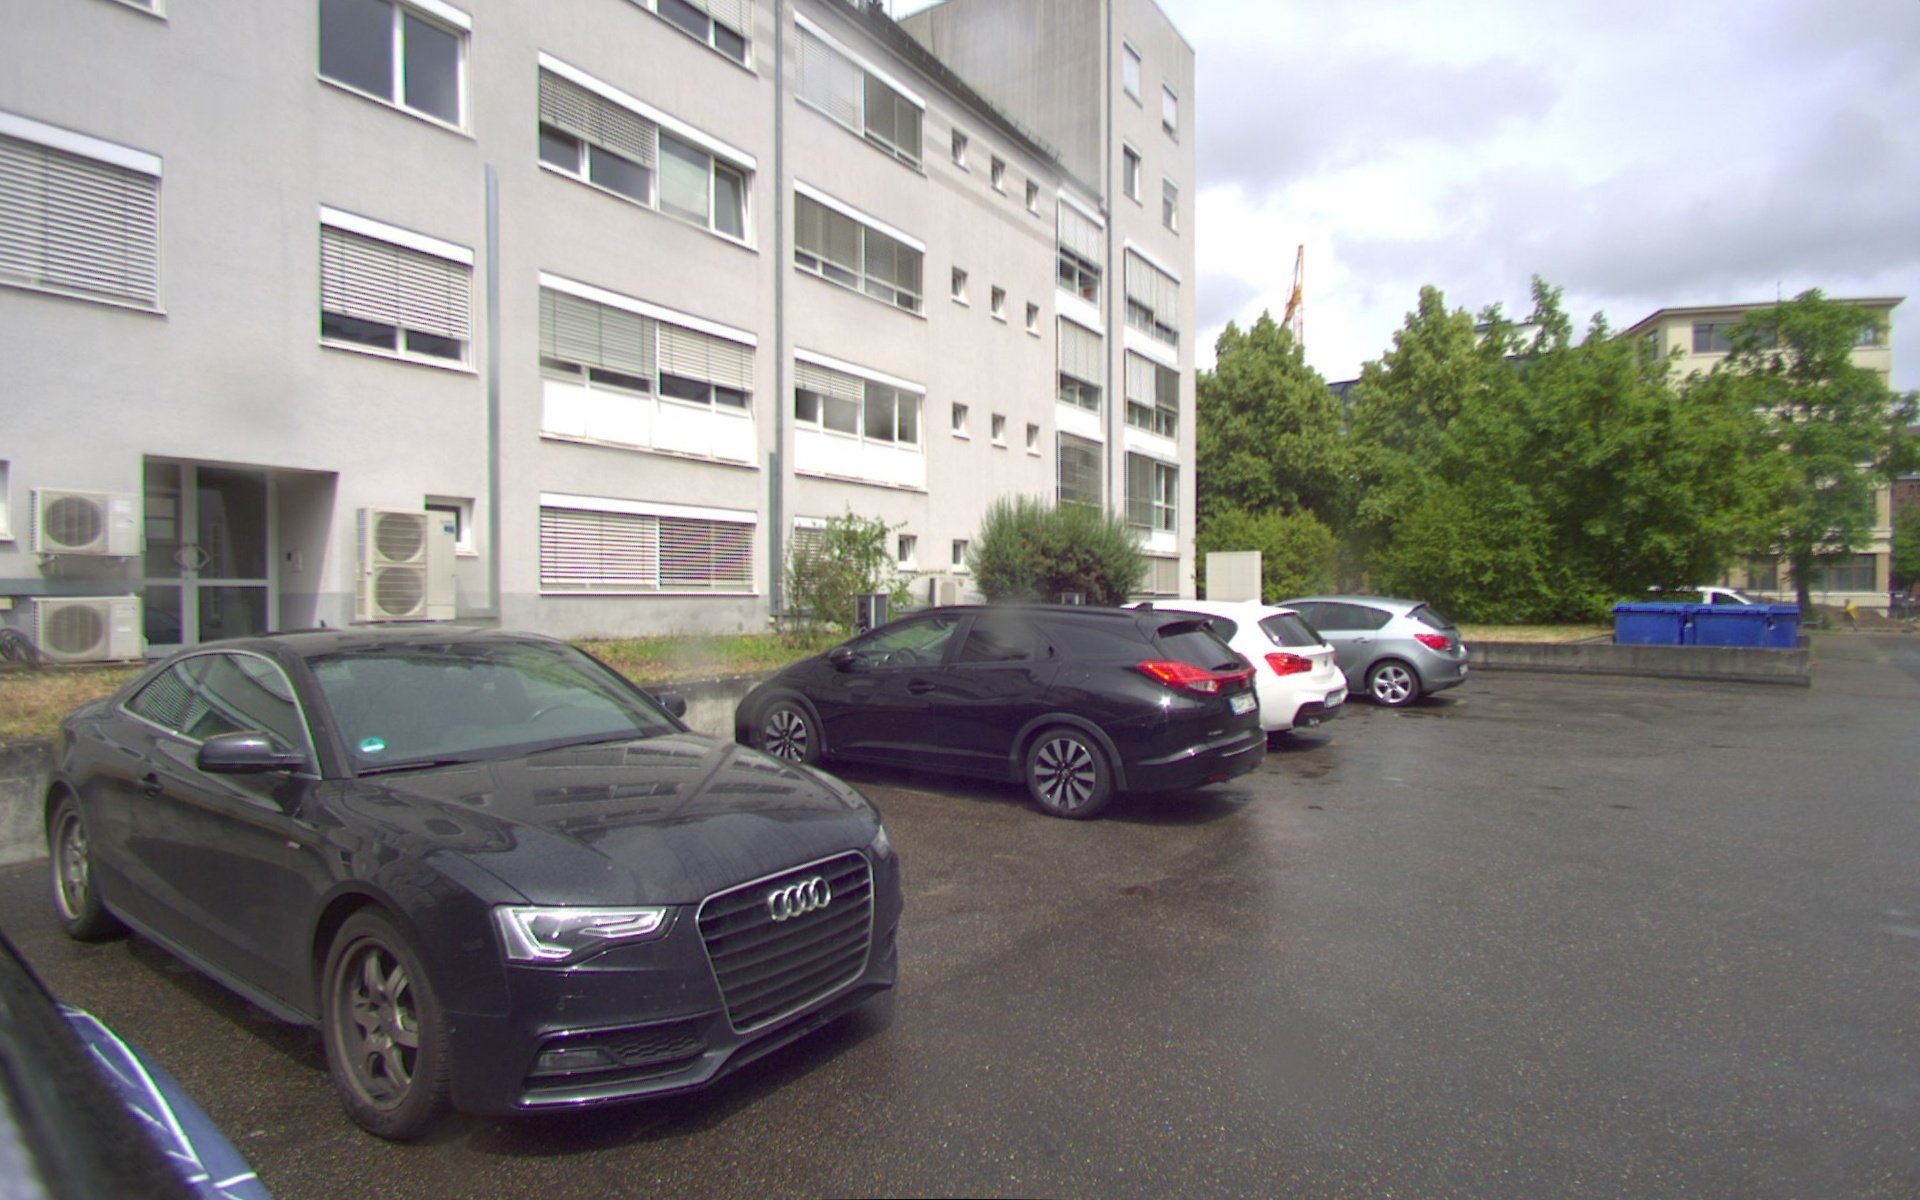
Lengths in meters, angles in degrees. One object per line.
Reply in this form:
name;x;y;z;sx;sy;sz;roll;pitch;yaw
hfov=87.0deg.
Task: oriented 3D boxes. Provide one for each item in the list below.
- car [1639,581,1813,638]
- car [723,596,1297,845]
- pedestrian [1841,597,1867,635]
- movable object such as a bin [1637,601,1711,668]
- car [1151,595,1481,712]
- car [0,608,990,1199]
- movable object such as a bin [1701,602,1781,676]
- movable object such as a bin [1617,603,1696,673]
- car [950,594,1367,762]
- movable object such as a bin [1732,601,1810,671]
car;24.934;0.298;33.057;1.697;1.740;4.337;-1;0;-45
car;0.263;0.722;8.053;4.304;1.453;1.743;1;1;34
pedestrian;43.575;0.785;49.337;0.859;1.827;0.853;-1;0;35
movable object such as a bin;15.130;0.715;21.447;1.131;1.338;1.191;-1;0;43
car;5.168;0.672;14.913;4.304;1.453;1.743;1;1;34
car;-2.231;0.764;4.184;4.519;1.362;1.742;1;1;35
movable object such as a bin;14.963;0.729;19.394;1.095;1.335;1.191;-1;0;43
movable object such as a bin;13.958;0.739;20.279;1.131;1.338;1.191;-1;0;43
car;2.034;0.688;10.931;4.116;1.453;1.676;1;1;36
movable object such as a bin;16.401;0.709;20.466;1.131;1.338;1.191;-1;0;43
